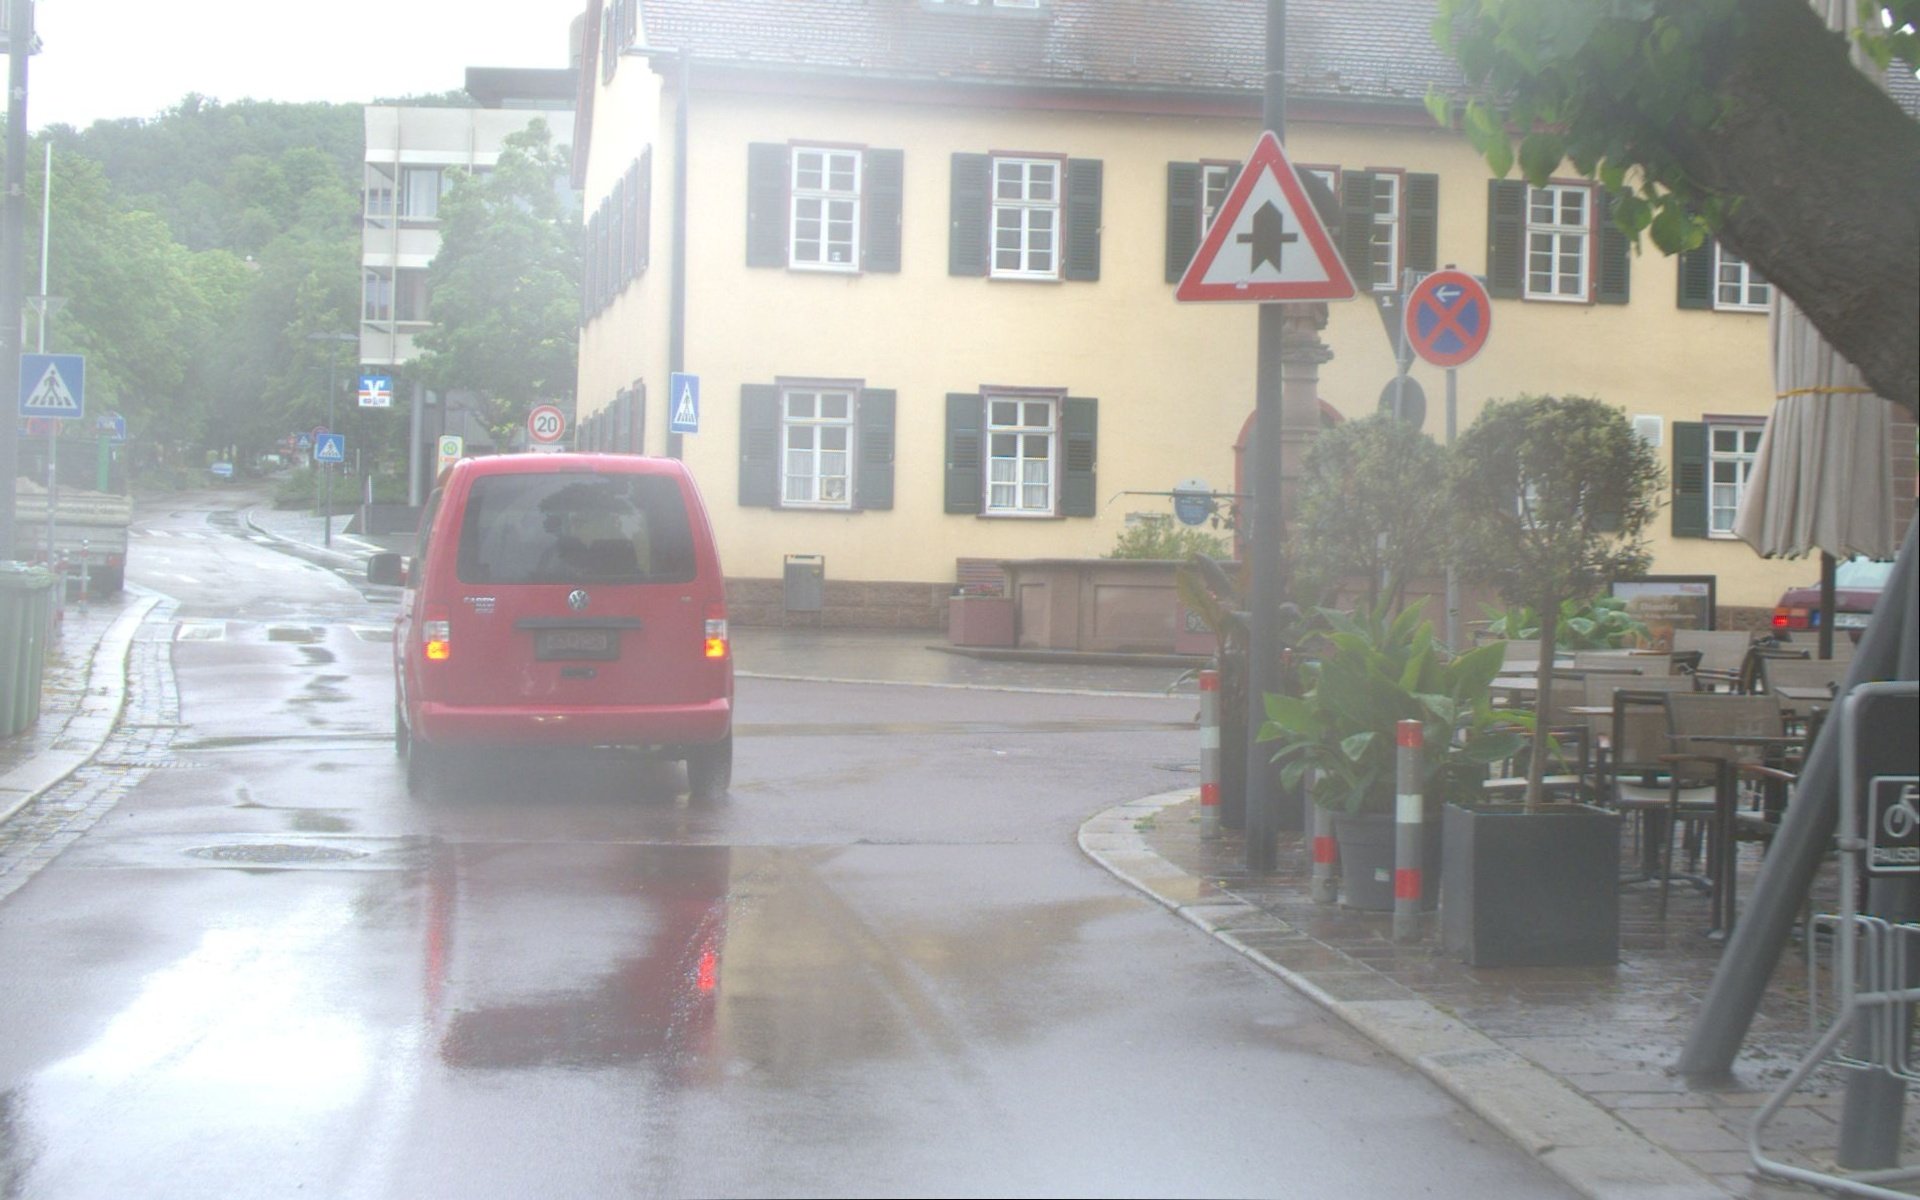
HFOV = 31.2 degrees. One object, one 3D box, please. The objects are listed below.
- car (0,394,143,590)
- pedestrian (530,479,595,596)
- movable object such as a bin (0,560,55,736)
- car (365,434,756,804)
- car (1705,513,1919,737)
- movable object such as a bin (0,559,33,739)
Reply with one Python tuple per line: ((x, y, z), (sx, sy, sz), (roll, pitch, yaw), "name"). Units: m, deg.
((-13.383, -1.506, 50.887), (2.299, 2.593, 6.960), (3, -1, -14), "car")
((-6.404, -0.998, 55.408), (0.764, 1.836, 0.901), (2, -1, 8), "pedestrian")
((-6.304, 0.295, 22.059), (0.794, 1.102, 0.722), (2, -1, -4), "movable object such as a bin")
((-2.314, 0.034, 19.510), (1.893, 1.805, 4.001), (3, 2, -8), "car")
((8.441, 0.255, 29.727), (3.989, 1.793, 1.999), (3, -1, -45), "car")
((-6.206, 0.291, 21.363), (0.714, 1.102, 0.600), (2, -1, -4), "movable object such as a bin")
